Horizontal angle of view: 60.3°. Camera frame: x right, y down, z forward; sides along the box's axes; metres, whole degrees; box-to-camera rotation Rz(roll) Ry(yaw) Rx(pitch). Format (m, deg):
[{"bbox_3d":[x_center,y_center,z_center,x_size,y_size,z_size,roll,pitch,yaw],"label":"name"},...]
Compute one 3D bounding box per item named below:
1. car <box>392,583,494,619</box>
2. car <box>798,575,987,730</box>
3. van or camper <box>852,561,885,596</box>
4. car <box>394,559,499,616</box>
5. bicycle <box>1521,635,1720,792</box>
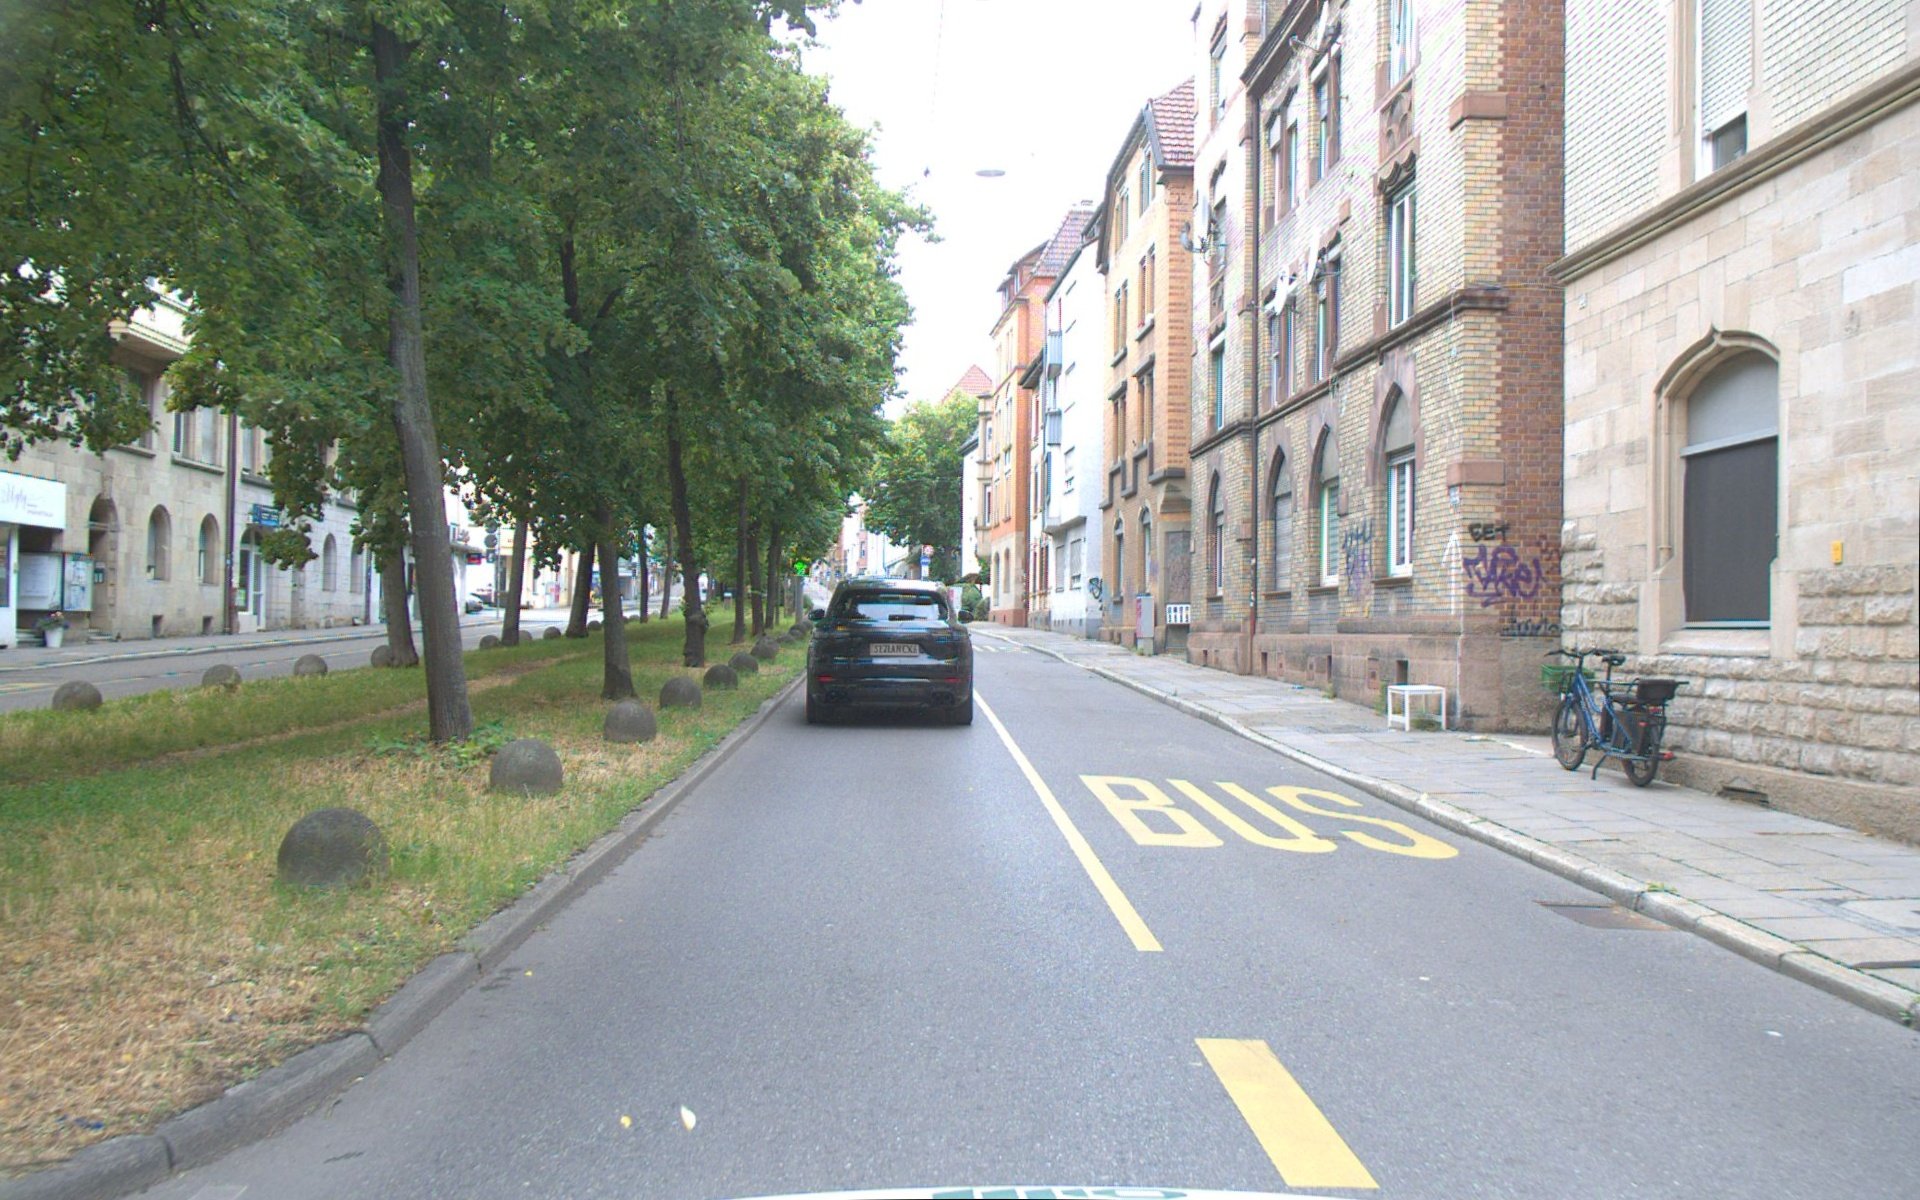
[{"bbox_3d":[-24.674,0.043,79.021,4.204,1.444,2.046,4,0,-5],"label":"car"},{"bbox_3d":[-0.936,0.591,20.381,1.868,1.695,4.127,1,0,-9],"label":"car"},{"bbox_3d":[-7.901,-1.774,142.065,2.432,2.852,7.227,1,0,-7],"label":"van or camper"},{"bbox_3d":[-27.133,-0.634,87.509,5.087,2.784,2.168,2,-1,-15],"label":"car"},{"bbox_3d":[5.579,0.912,14.161,0.668,1.169,2.483,1,0,-1],"label":"bicycle"}]
